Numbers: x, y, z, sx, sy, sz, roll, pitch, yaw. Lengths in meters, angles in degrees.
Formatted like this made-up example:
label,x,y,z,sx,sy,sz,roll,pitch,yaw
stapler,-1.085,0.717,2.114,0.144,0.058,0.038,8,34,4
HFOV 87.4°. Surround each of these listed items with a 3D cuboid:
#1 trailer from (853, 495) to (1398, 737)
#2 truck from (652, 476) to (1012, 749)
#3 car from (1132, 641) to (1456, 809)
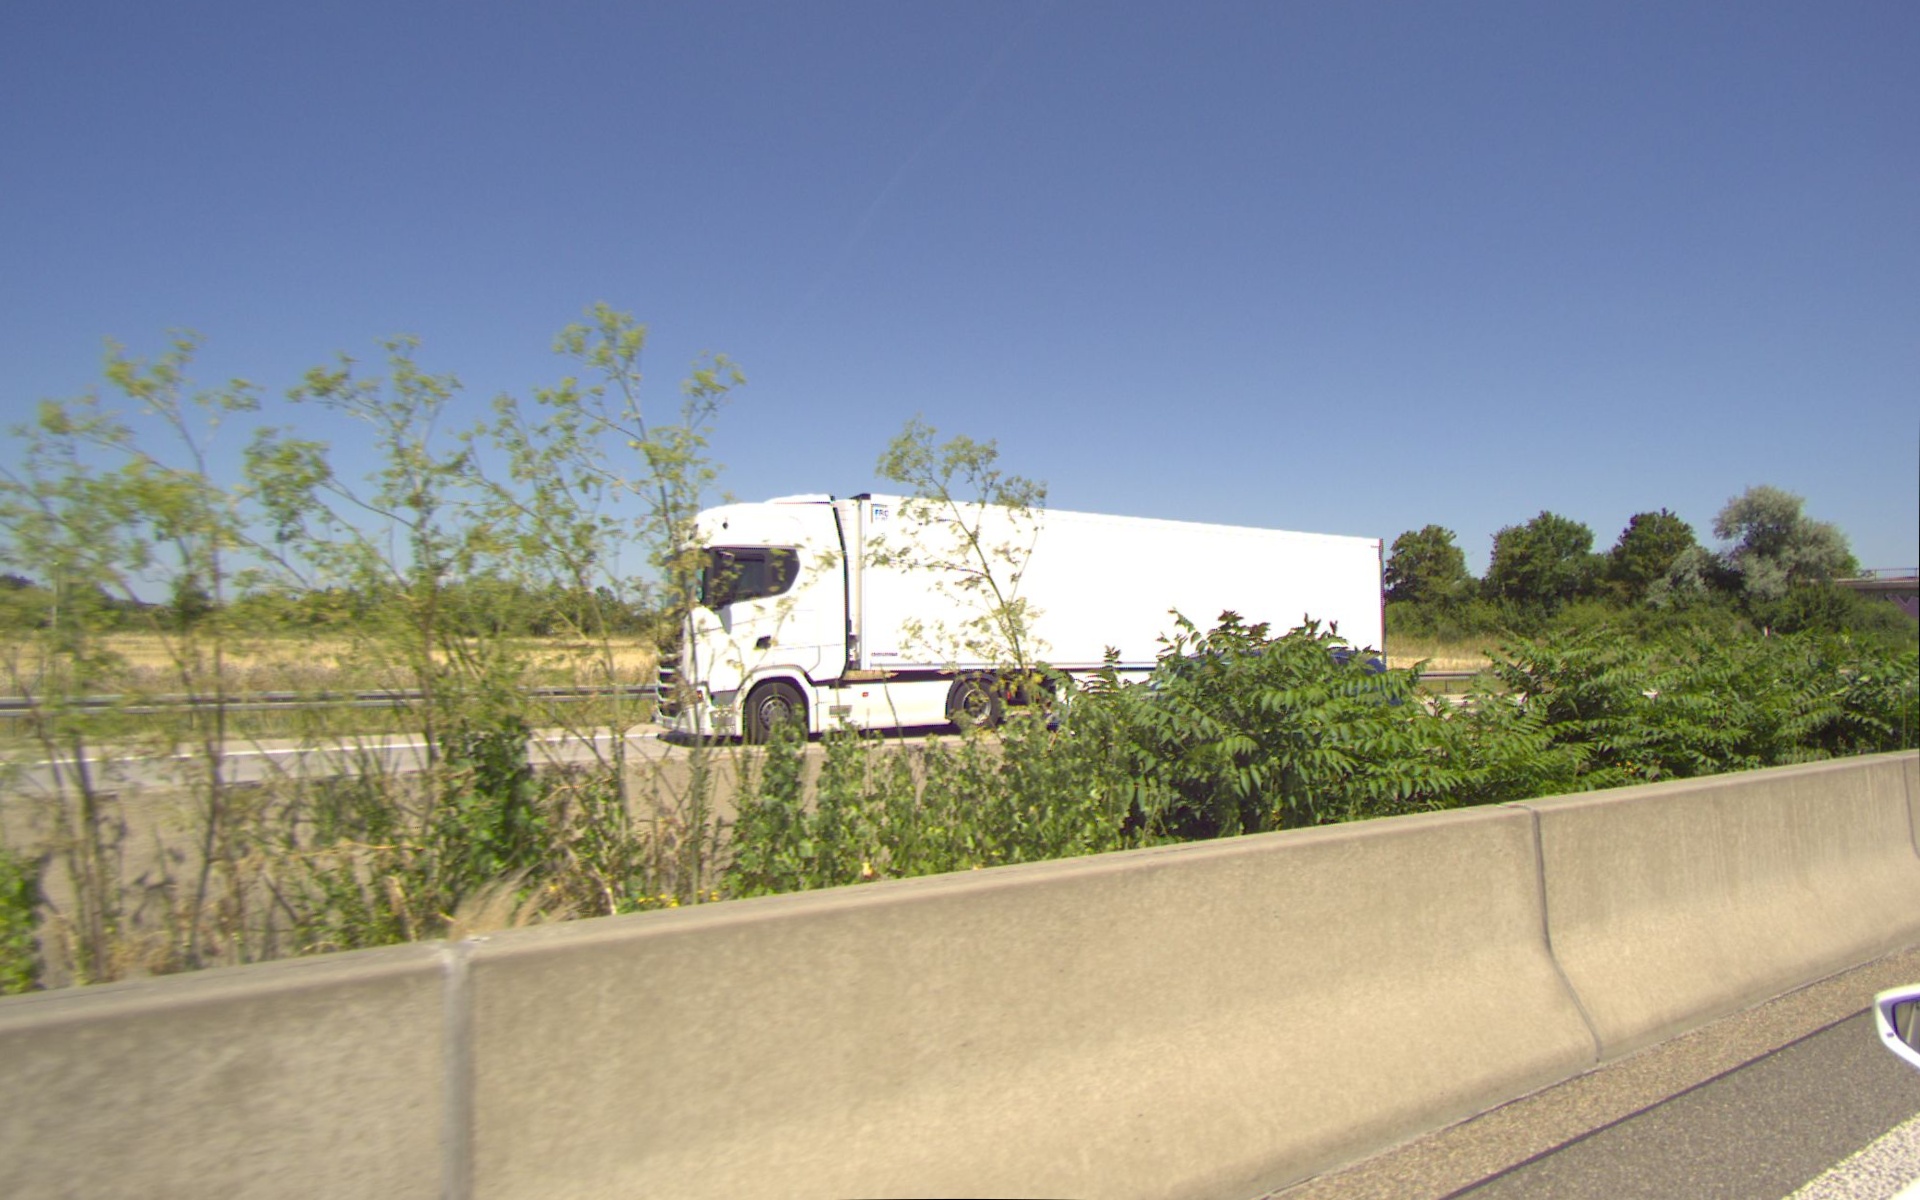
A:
label,x,y,z,sx,sy,sz,roll,pitch,yaw
trailer,4.110,0.460,21.418,12.819,4.067,2.681,2,-3,-31
truck,-2.172,0.289,17.599,5.690,4.067,2.667,1,-3,-31
car,3.916,1.319,11.667,3.631,1.641,1.585,1,-1,-30
